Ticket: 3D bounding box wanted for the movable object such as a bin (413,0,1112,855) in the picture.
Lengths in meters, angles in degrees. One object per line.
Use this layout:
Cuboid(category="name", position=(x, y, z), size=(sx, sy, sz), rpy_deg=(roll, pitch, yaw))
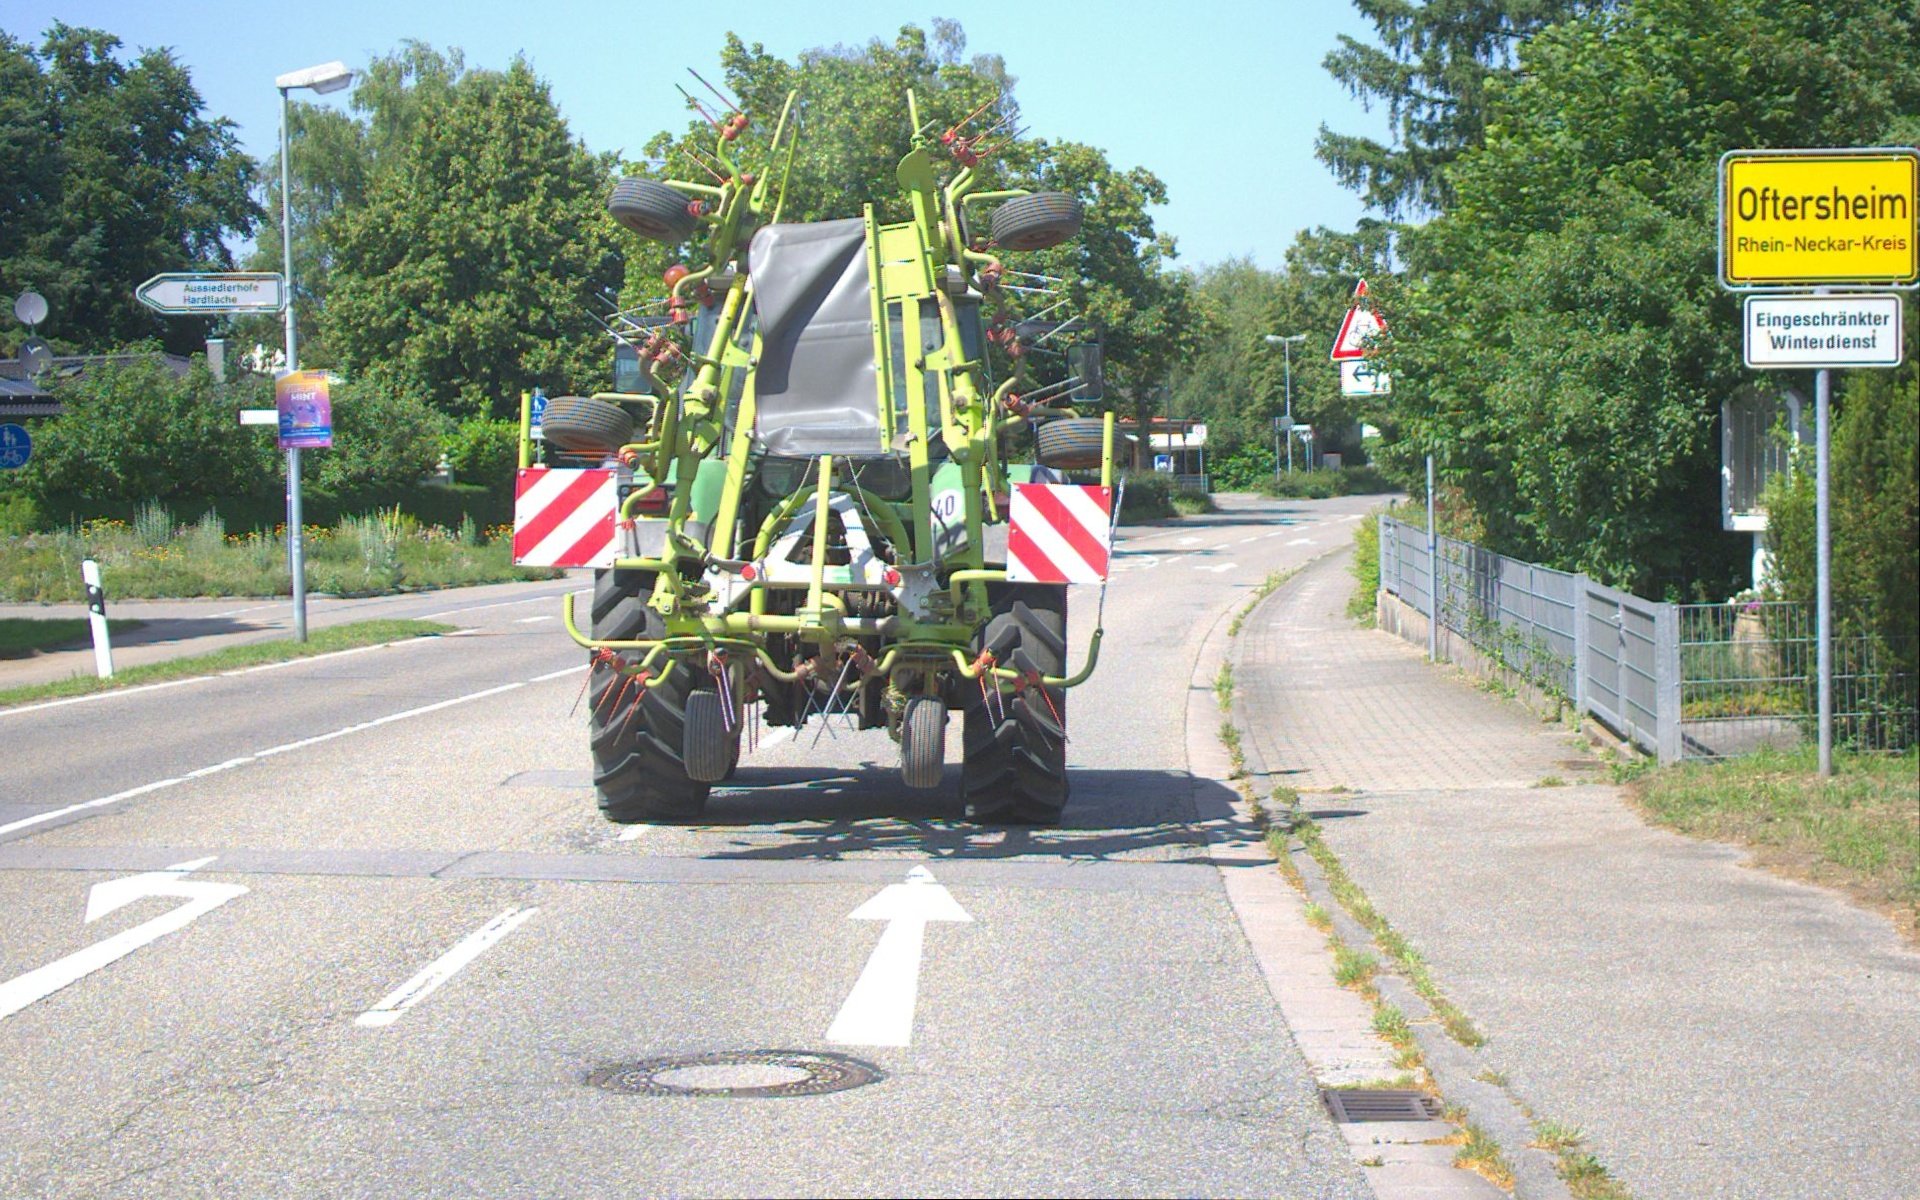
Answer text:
Cuboid(category="movable object such as a bin", position=(-0.605, -0.875, 19.060), size=(2.853, 3.529, 9.701), rpy_deg=(0, 2, 3))
